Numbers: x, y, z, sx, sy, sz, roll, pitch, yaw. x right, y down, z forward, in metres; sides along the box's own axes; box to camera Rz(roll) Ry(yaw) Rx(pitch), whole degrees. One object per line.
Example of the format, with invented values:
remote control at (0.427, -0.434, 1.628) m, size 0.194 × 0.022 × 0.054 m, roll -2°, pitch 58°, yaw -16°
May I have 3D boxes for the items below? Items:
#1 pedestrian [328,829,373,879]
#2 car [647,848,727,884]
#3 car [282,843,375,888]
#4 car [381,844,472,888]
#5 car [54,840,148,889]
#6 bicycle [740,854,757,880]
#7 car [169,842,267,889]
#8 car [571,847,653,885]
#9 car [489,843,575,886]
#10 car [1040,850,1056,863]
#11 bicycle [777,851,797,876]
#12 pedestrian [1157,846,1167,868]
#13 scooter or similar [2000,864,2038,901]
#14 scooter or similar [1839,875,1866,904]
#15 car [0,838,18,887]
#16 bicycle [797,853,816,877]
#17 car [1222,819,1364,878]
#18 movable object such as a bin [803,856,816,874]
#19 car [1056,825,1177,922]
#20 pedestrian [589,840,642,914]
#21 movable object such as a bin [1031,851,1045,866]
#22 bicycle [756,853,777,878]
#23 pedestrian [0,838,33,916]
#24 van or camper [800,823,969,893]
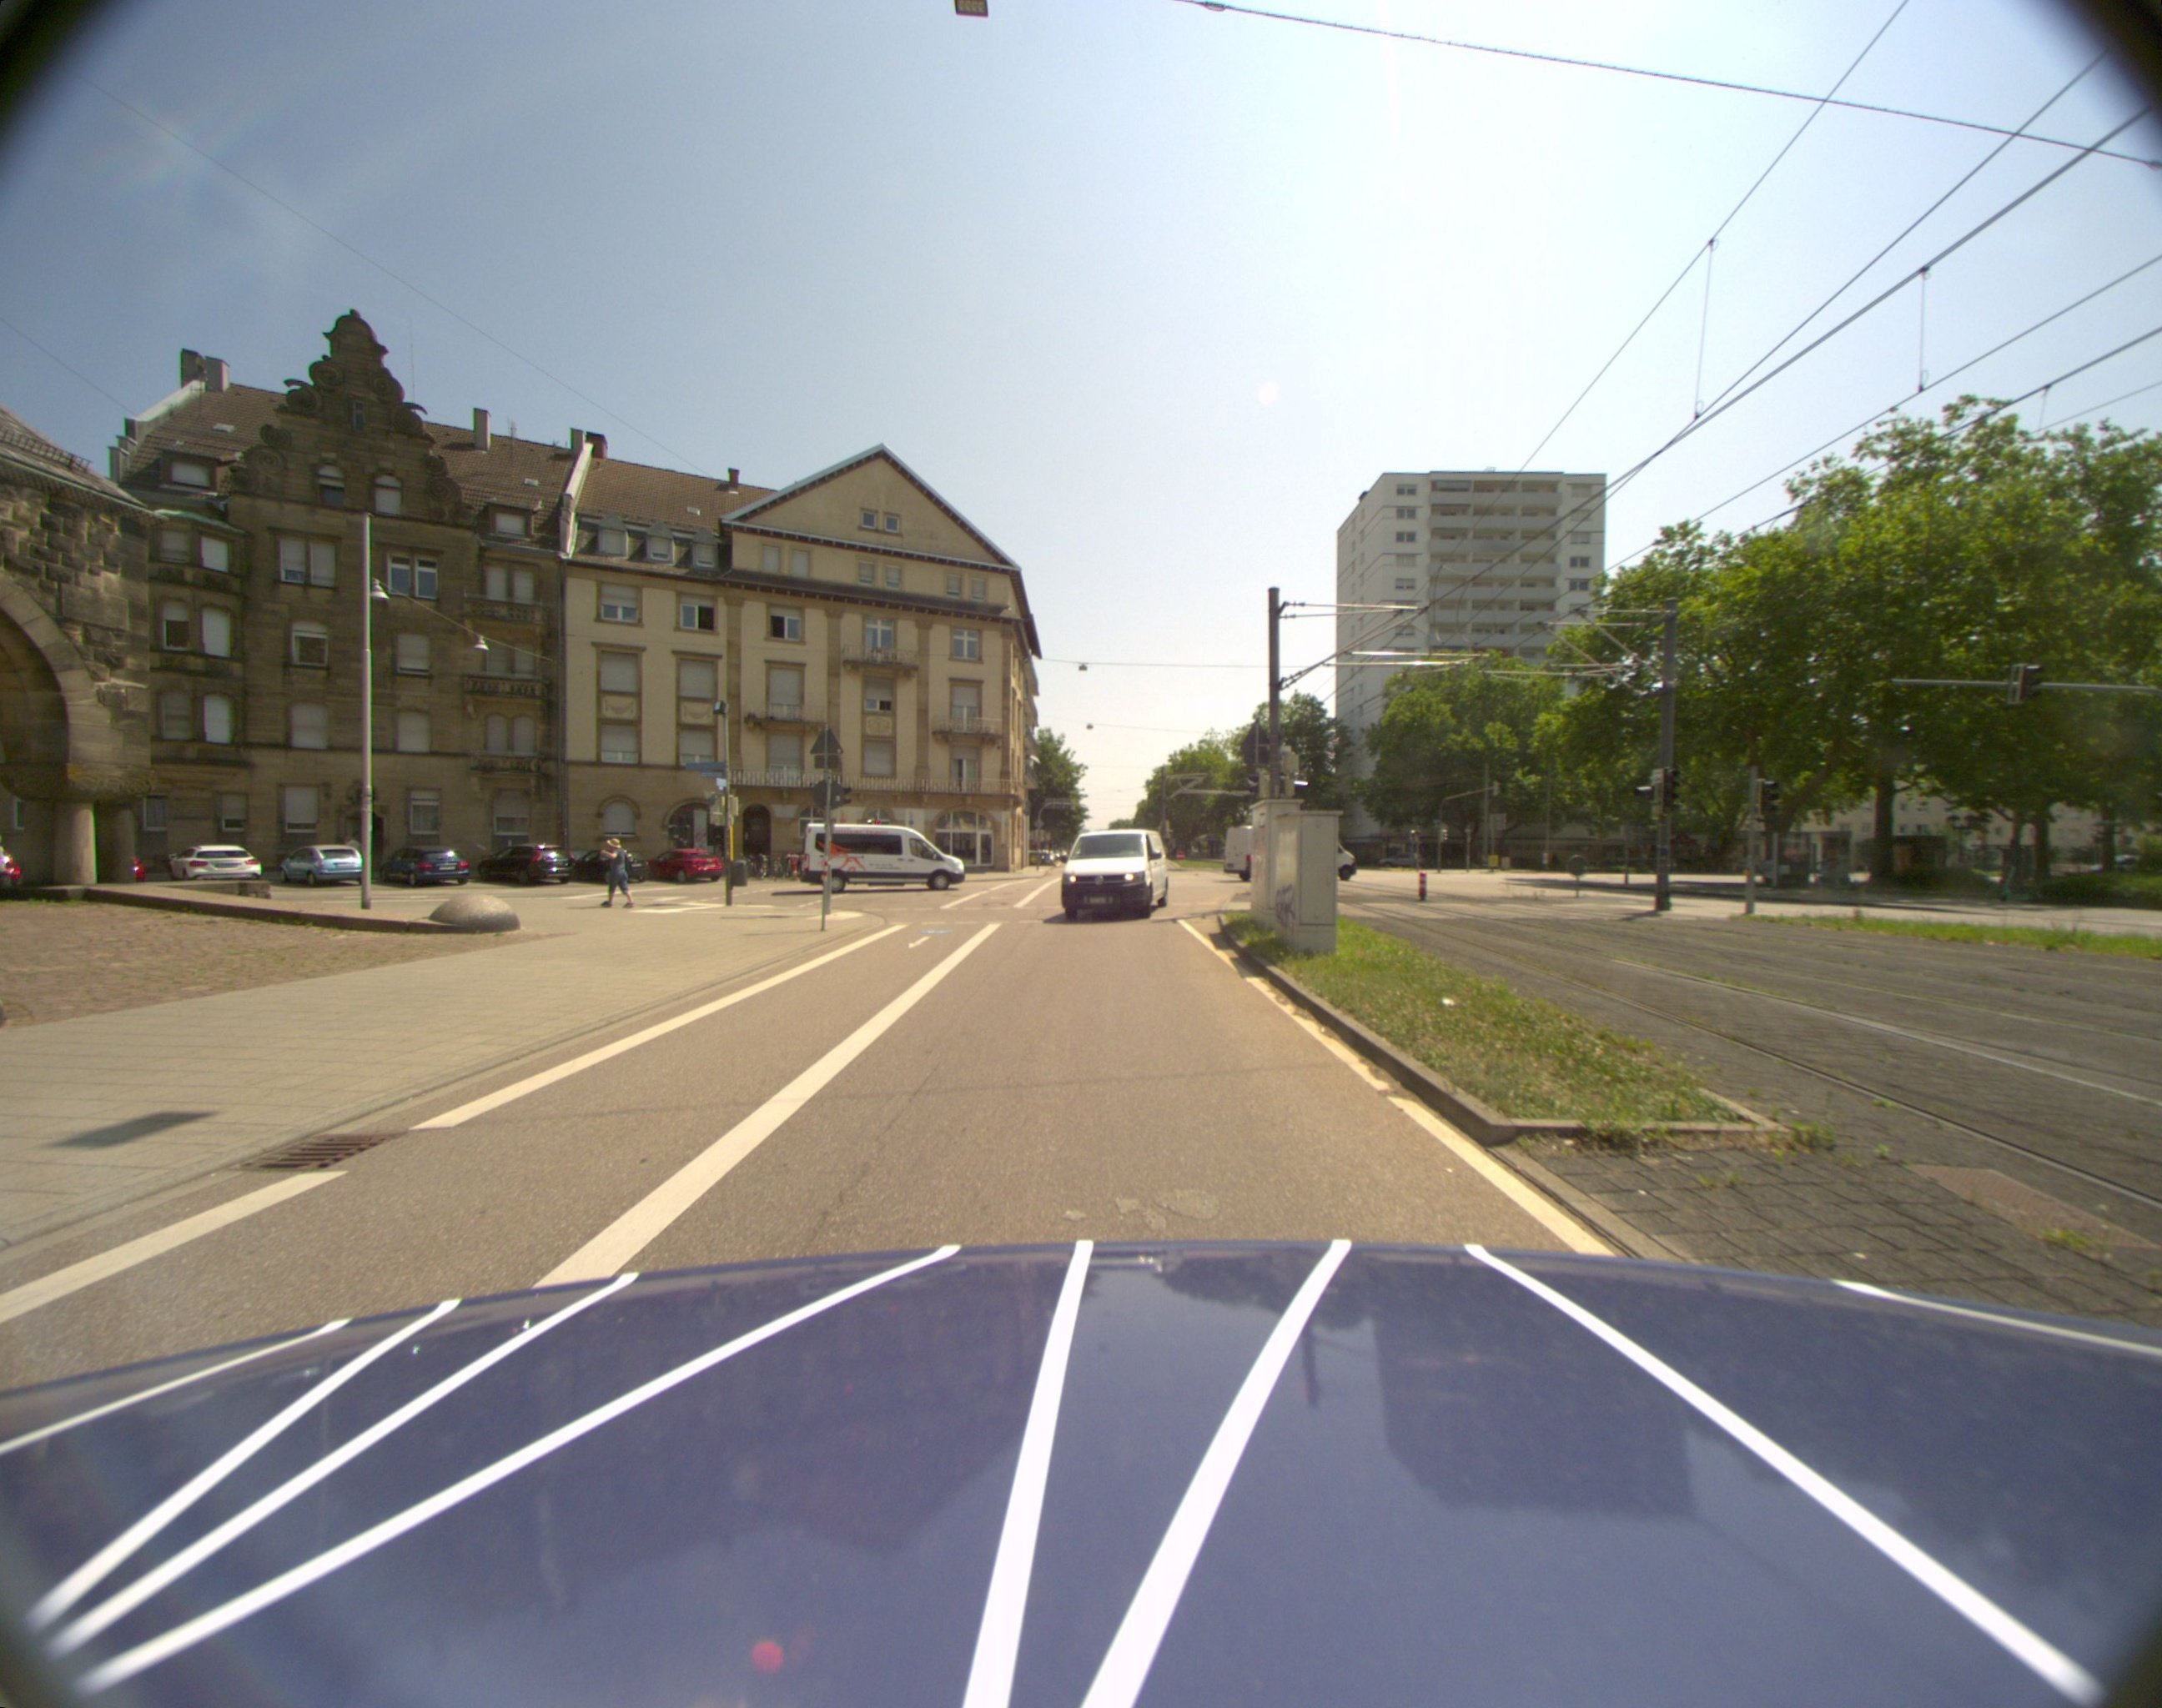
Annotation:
pedestrian at (-31.259, -0.011, 32.521) m, size 1.099 × 2.101 × 0.867 m, roll 1°, pitch 1°, yaw 7°
car at (-18.030, 0.515, 34.779) m, size 3.218 × 1.471 × 1.619 m, roll 2°, pitch 4°, yaw 26°
car at (-29.709, 0.414, 29.999) m, size 3.218 × 1.566 × 1.619 m, roll 2°, pitch 4°, yaw 26°
car at (-26.654, 0.440, 30.934) m, size 3.218 × 1.566 × 1.619 m, roll 2°, pitch 4°, yaw 26°
car at (-35.107, 0.326, 27.216) m, size 3.217 × 1.566 × 1.619 m, roll 2°, pitch 4°, yaw 31°
bicycle at (-15.827, 0.602, 36.163) m, size 0.566 × 1.145 × 1.802 m, roll -1°, pitch 2°, yaw -18°
car at (-32.220, 0.380, 28.368) m, size 3.217 × 1.566 × 1.619 m, roll 2°, pitch 4°, yaw 27°
car at (-20.787, 0.490, 33.685) m, size 3.218 × 1.471 × 1.619 m, roll 2°, pitch 4°, yaw 26°
car at (-23.382, 0.403, 32.367) m, size 3.218 × 1.656 × 1.619 m, roll 2°, pitch 4°, yaw 26°
car at (-4.247, 0.311, 96.516) m, size 1.999 × 1.522 × 3.998 m, roll 0°, pitch 1°, yaw -3°
bicycle at (-14.638, 0.471, 37.838) m, size 0.565 × 1.145 × 1.803 m, roll 0°, pitch 2°, yaw -10°
pedestrian at (6.279, 0.209, 58.905) m, size 0.679 × 1.696 × 0.554 m, roll 0°, pitch 1°, yaw 3°
scooter or similar at (29.468, 0.885, 23.874) m, size 0.257 × 1.114 × 0.861 m, roll 1°, pitch 1°, yaw 12°
scooter or similar at (31.397, 1.442, 30.933) m, size 0.257 × 1.114 × 0.978 m, roll 0°, pitch 1°, yaw 13°
car at (-37.785, 0.283, 25.817) m, size 3.217 × 1.566 × 1.619 m, roll 2°, pitch 4°, yaw 31°
bicycle at (-13.893, 0.534, 38.470) m, size 0.565 × 1.145 × 1.803 m, roll 0°, pitch 2°, yaw -10°
car at (10.130, -0.278, 36.270) m, size 6.641 × 2.622 × 2.073 m, roll 0°, pitch 1°, yaw -22°
movable object such as a bin at (-14.759, 0.600, 41.291) m, size 0.591 × 0.989 × 0.582 m, roll -1°, pitch 1°, yaw -16°
car at (1.006, 0.370, 17.898) m, size 1.850 × 1.942 × 4.948 m, roll -1°, pitch 1°, yaw 14°
pedestrian at (-11.683, 0.564, 19.076) m, size 0.744 × 1.812 × 0.834 m, roll 0°, pitch 1°, yaw 8°
movable object such as a bin at (-4.031, 0.434, 71.122) m, size 1.214 × 1.428 × 1.008 m, roll 0°, pitch 1°, yaw -4°
bicycle at (-15.294, 0.557, 36.967) m, size 0.565 × 1.145 × 1.803 m, roll 0°, pitch 2°, yaw -10°
pedestrian at (-21.838, 0.459, 15.149) m, size 0.791 × 1.550 × 0.720 m, roll 0°, pitch 1°, yaw -6°
van or camper at (-7.354, 0.145, 28.484) m, size 5.908 × 2.447 × 2.070 m, roll 0°, pitch 0°, yaw -20°
